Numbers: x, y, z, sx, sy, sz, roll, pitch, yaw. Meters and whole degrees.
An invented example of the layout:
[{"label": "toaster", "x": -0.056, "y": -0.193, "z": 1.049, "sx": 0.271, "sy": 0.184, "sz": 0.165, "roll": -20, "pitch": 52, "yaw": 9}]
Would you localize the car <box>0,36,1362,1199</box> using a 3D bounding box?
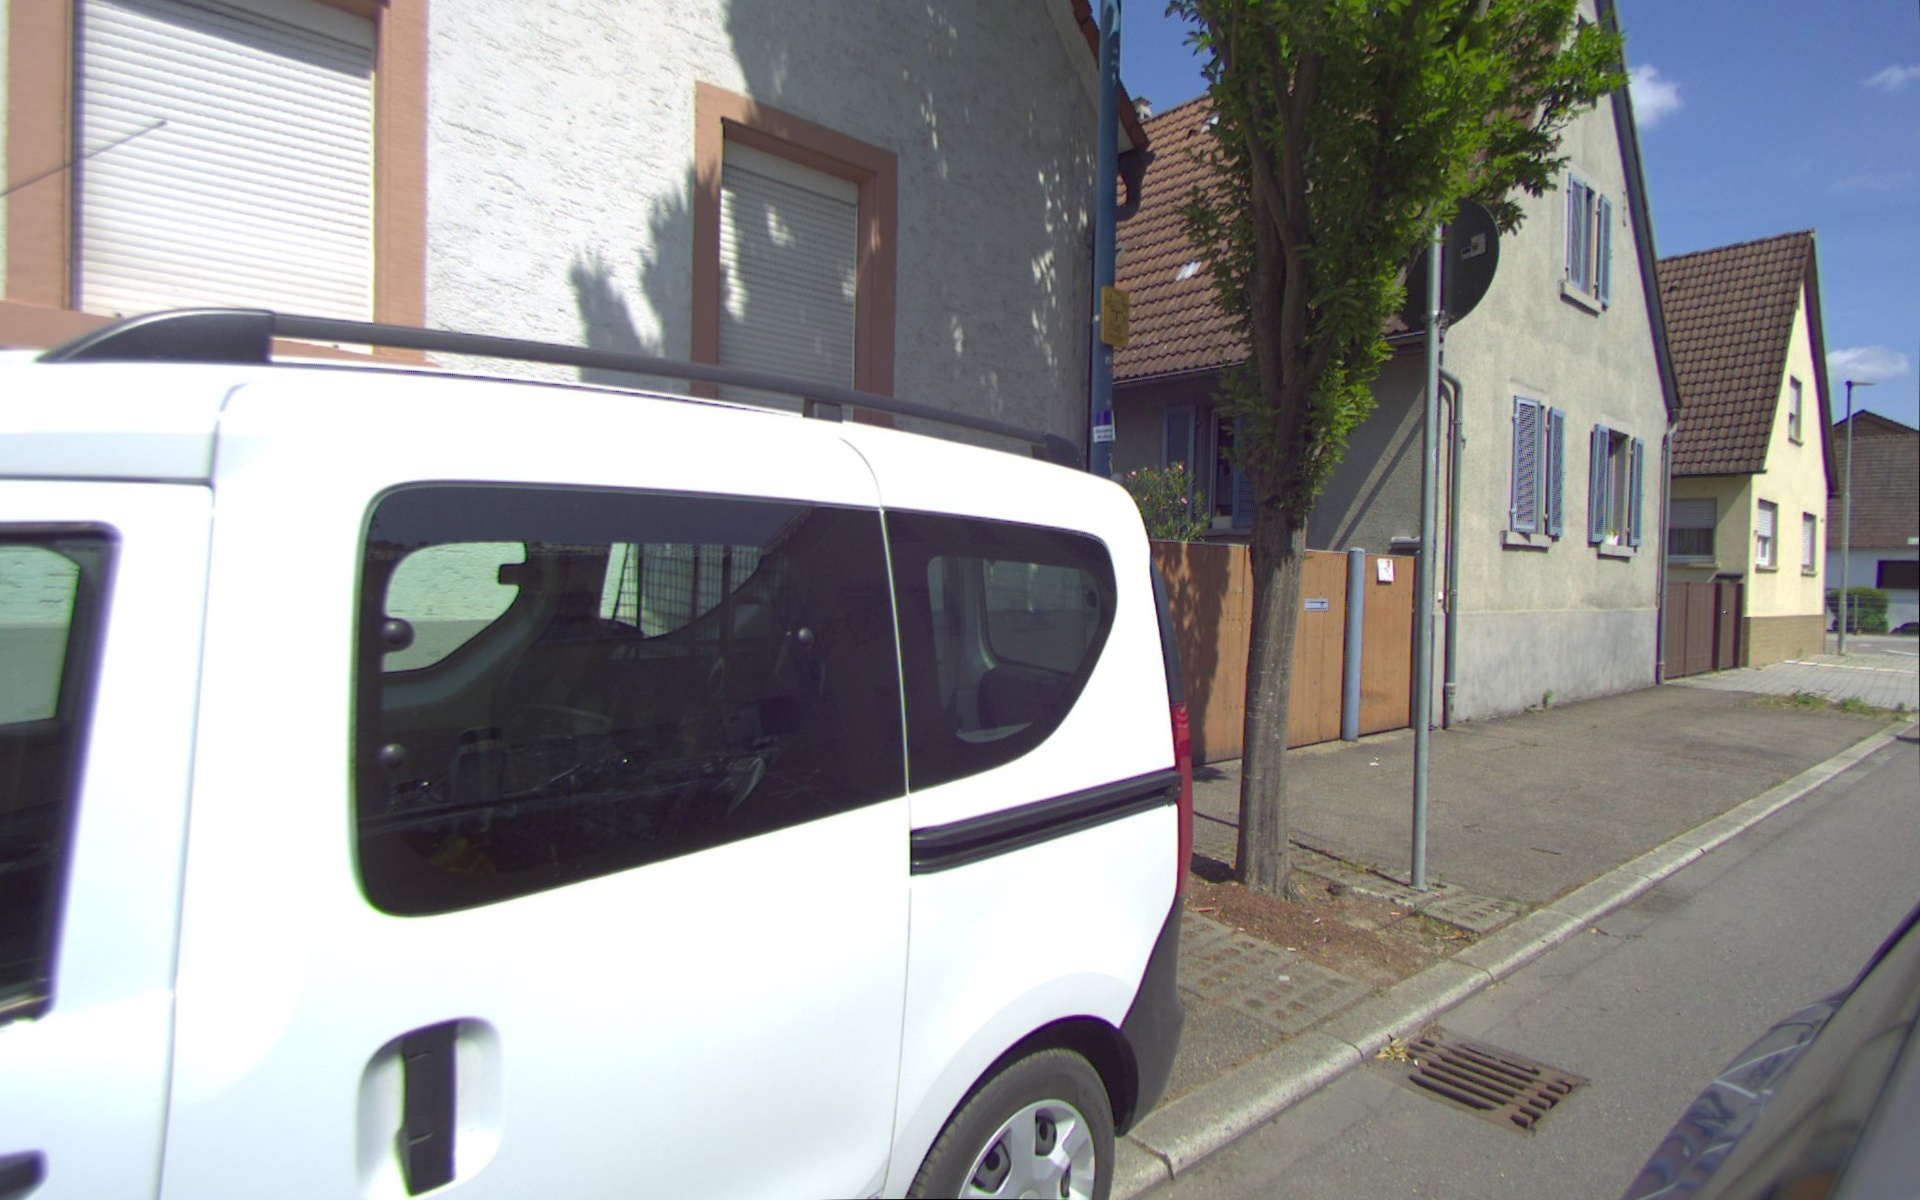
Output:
[{"label": "car", "x": -1.383, "y": 0.402, "z": 1.503, "sx": 4.682, "sy": 1.864, "sz": 1.692, "roll": 0, "pitch": 5, "yaw": -42}]
